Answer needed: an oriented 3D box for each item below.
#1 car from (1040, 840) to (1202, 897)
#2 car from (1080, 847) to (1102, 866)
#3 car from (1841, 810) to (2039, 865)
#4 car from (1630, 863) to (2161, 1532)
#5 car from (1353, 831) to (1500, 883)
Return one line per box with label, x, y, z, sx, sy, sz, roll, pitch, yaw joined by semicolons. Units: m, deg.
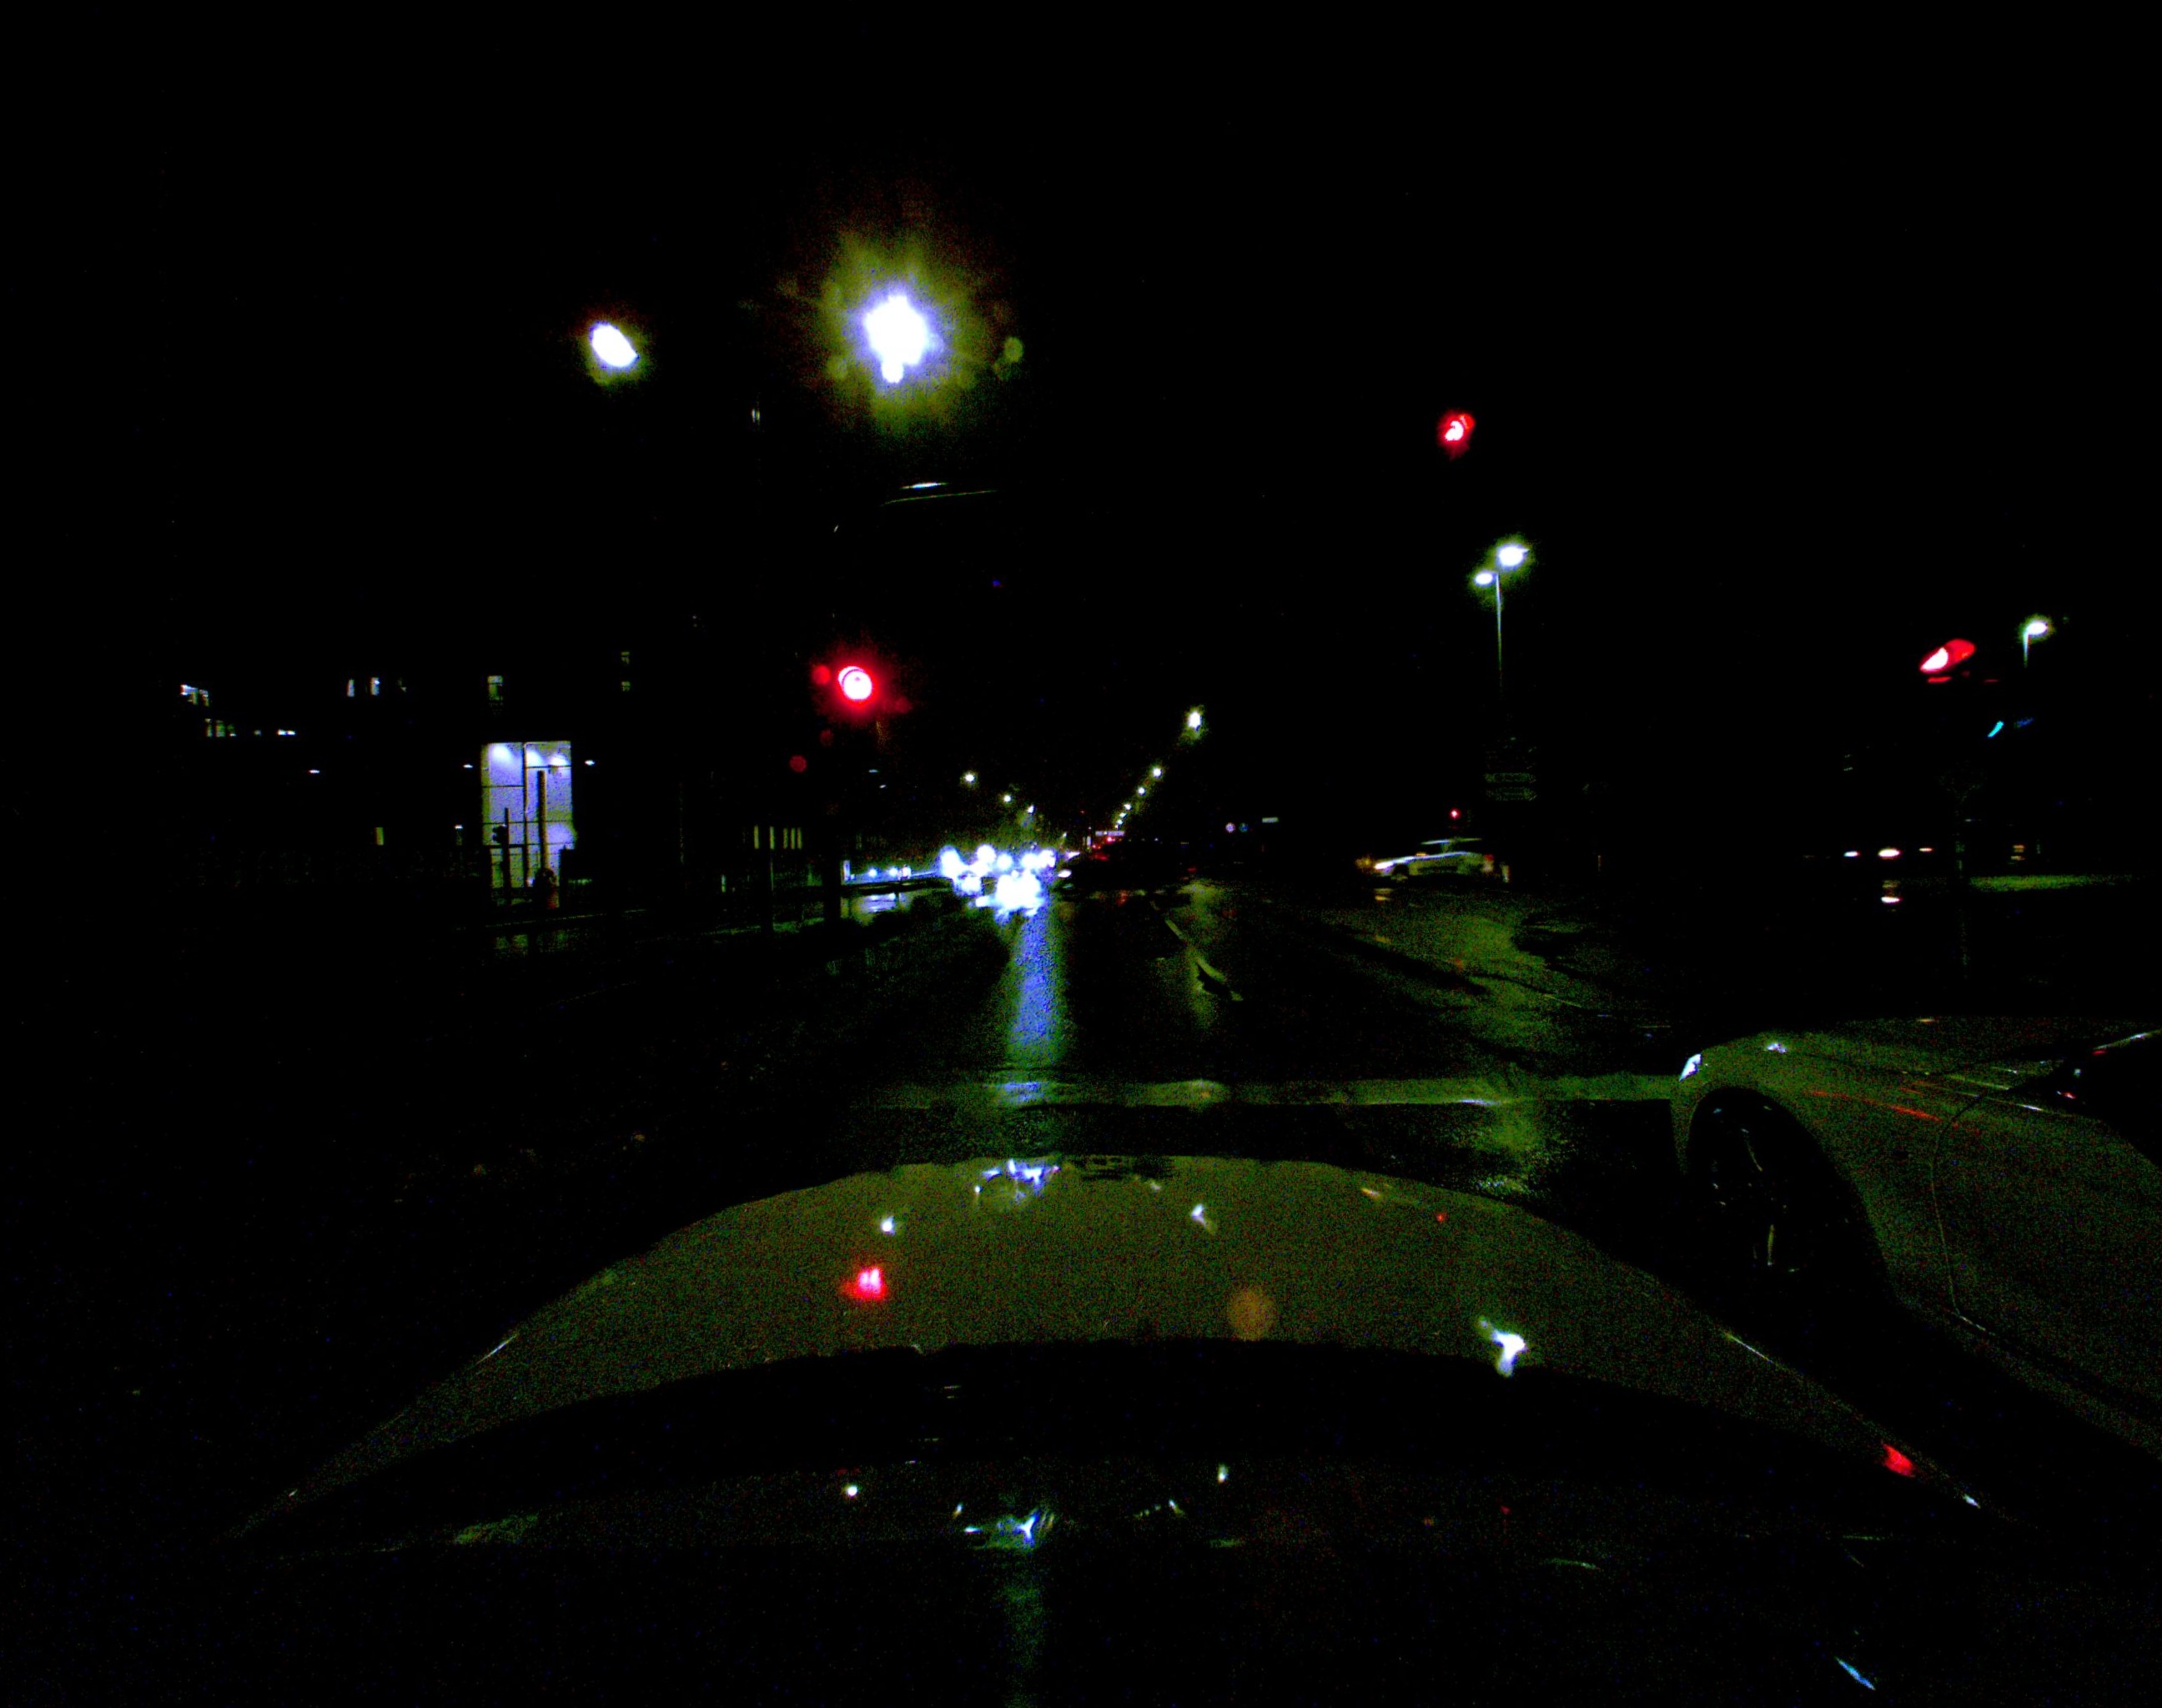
car;1.273;0.429;26.523;4.916;1.741;1.959;0;-1;-19
car;0.959;0.278;77.433;1.986;1.705;4.634;0;-1;2
car;28.753;-0.512;27.396;4.469;1.749;1.862;0;-1;5
car;3.127;0.726;1.275;1.710;1.404;4.351;0;-1;2
car;12.067;0.117;28.662;4.364;1.741;1.912;0;-1;3
